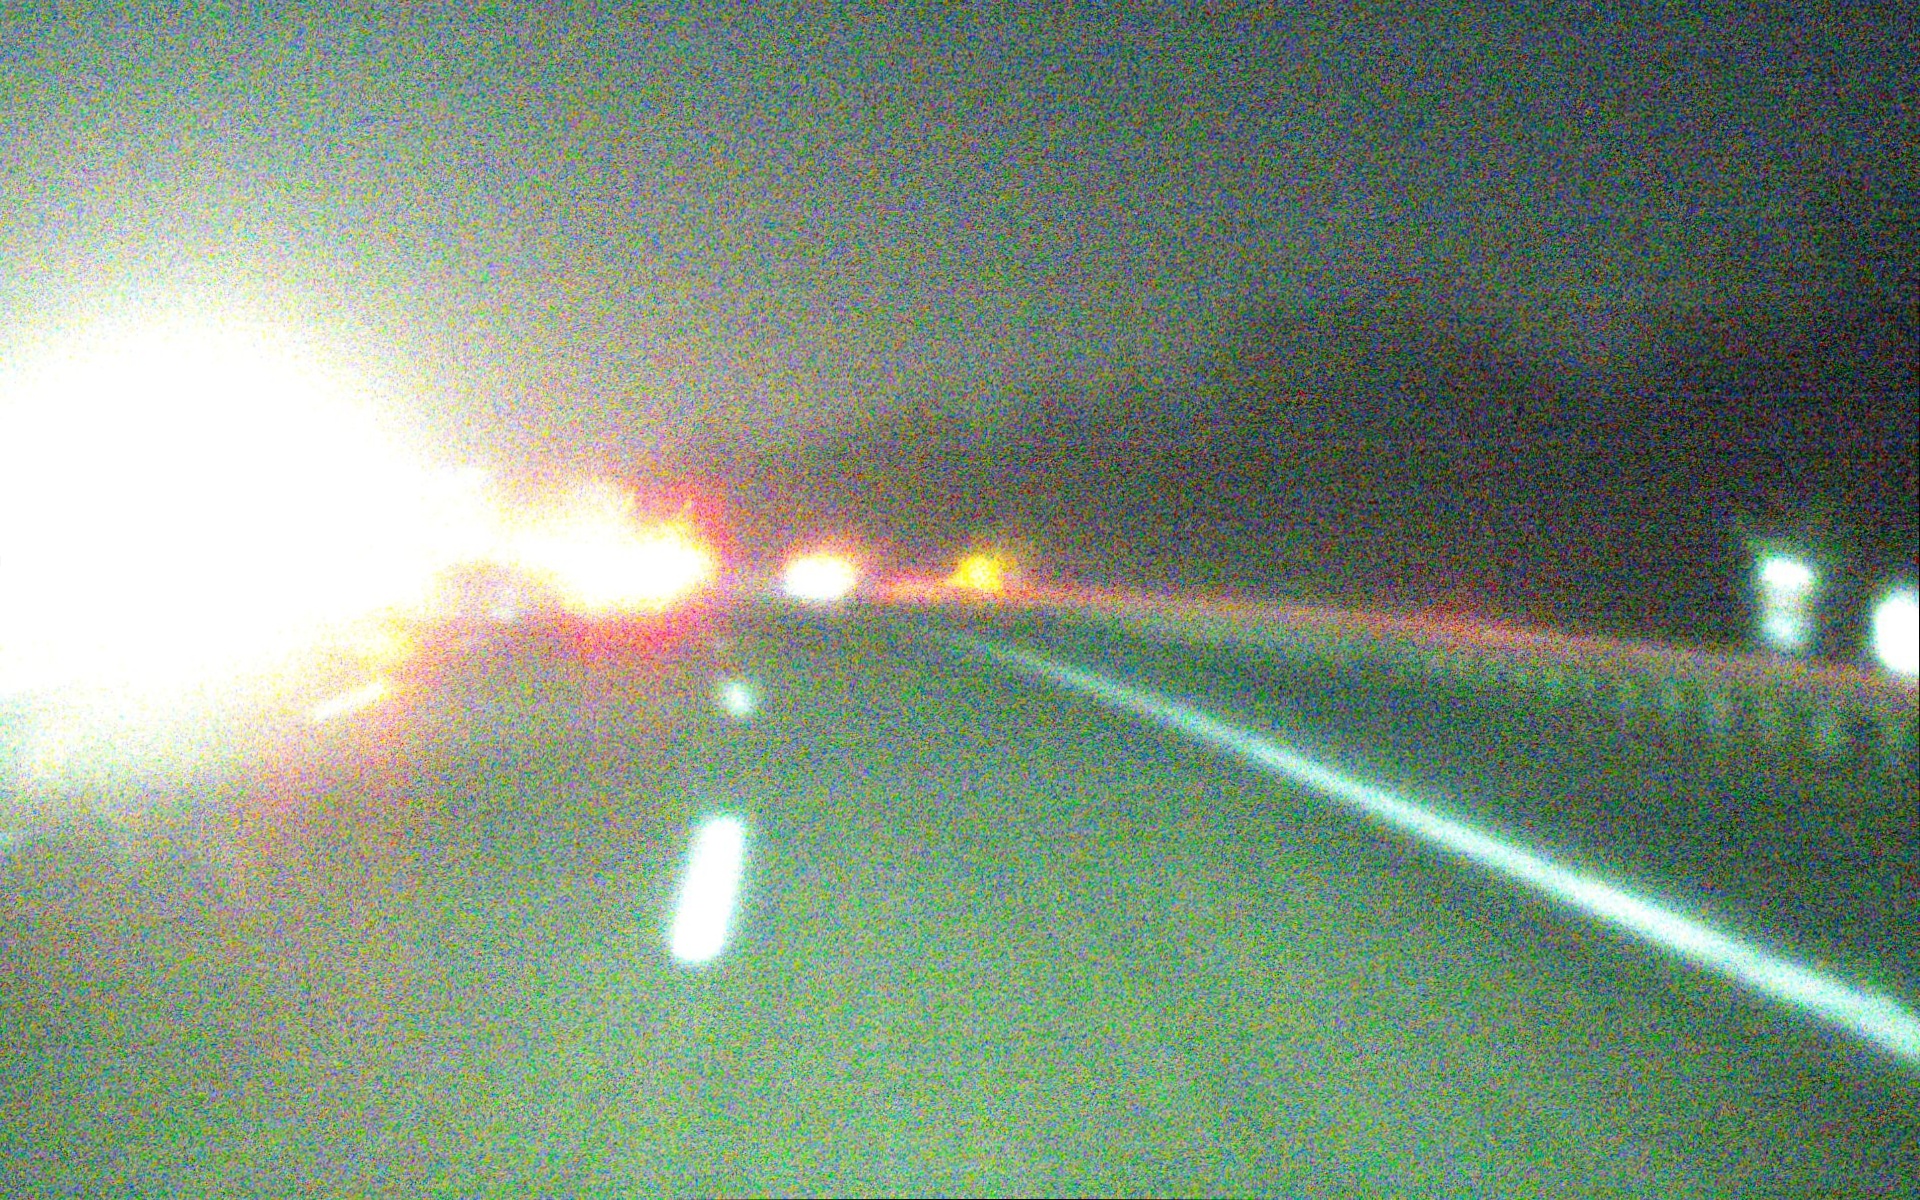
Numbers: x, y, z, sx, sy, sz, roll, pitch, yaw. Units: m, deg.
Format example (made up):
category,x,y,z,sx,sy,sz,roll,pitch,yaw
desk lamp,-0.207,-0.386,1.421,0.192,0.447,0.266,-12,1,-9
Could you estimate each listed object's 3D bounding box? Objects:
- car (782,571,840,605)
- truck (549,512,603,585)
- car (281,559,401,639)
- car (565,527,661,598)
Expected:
category,x,y,z,sx,sy,sz,roll,pitch,yaw
car,-5.903,-0.484,135.785,1.580,1.242,3.069,4,-1,-15
truck,-16.874,-2.233,150.861,1.993,3.032,6.466,1,-1,-10
car,-10.037,0.001,55.935,1.662,1.232,3.762,1,0,-6
car,-7.497,-0.820,74.619,1.801,1.482,4.000,0,1,-2
